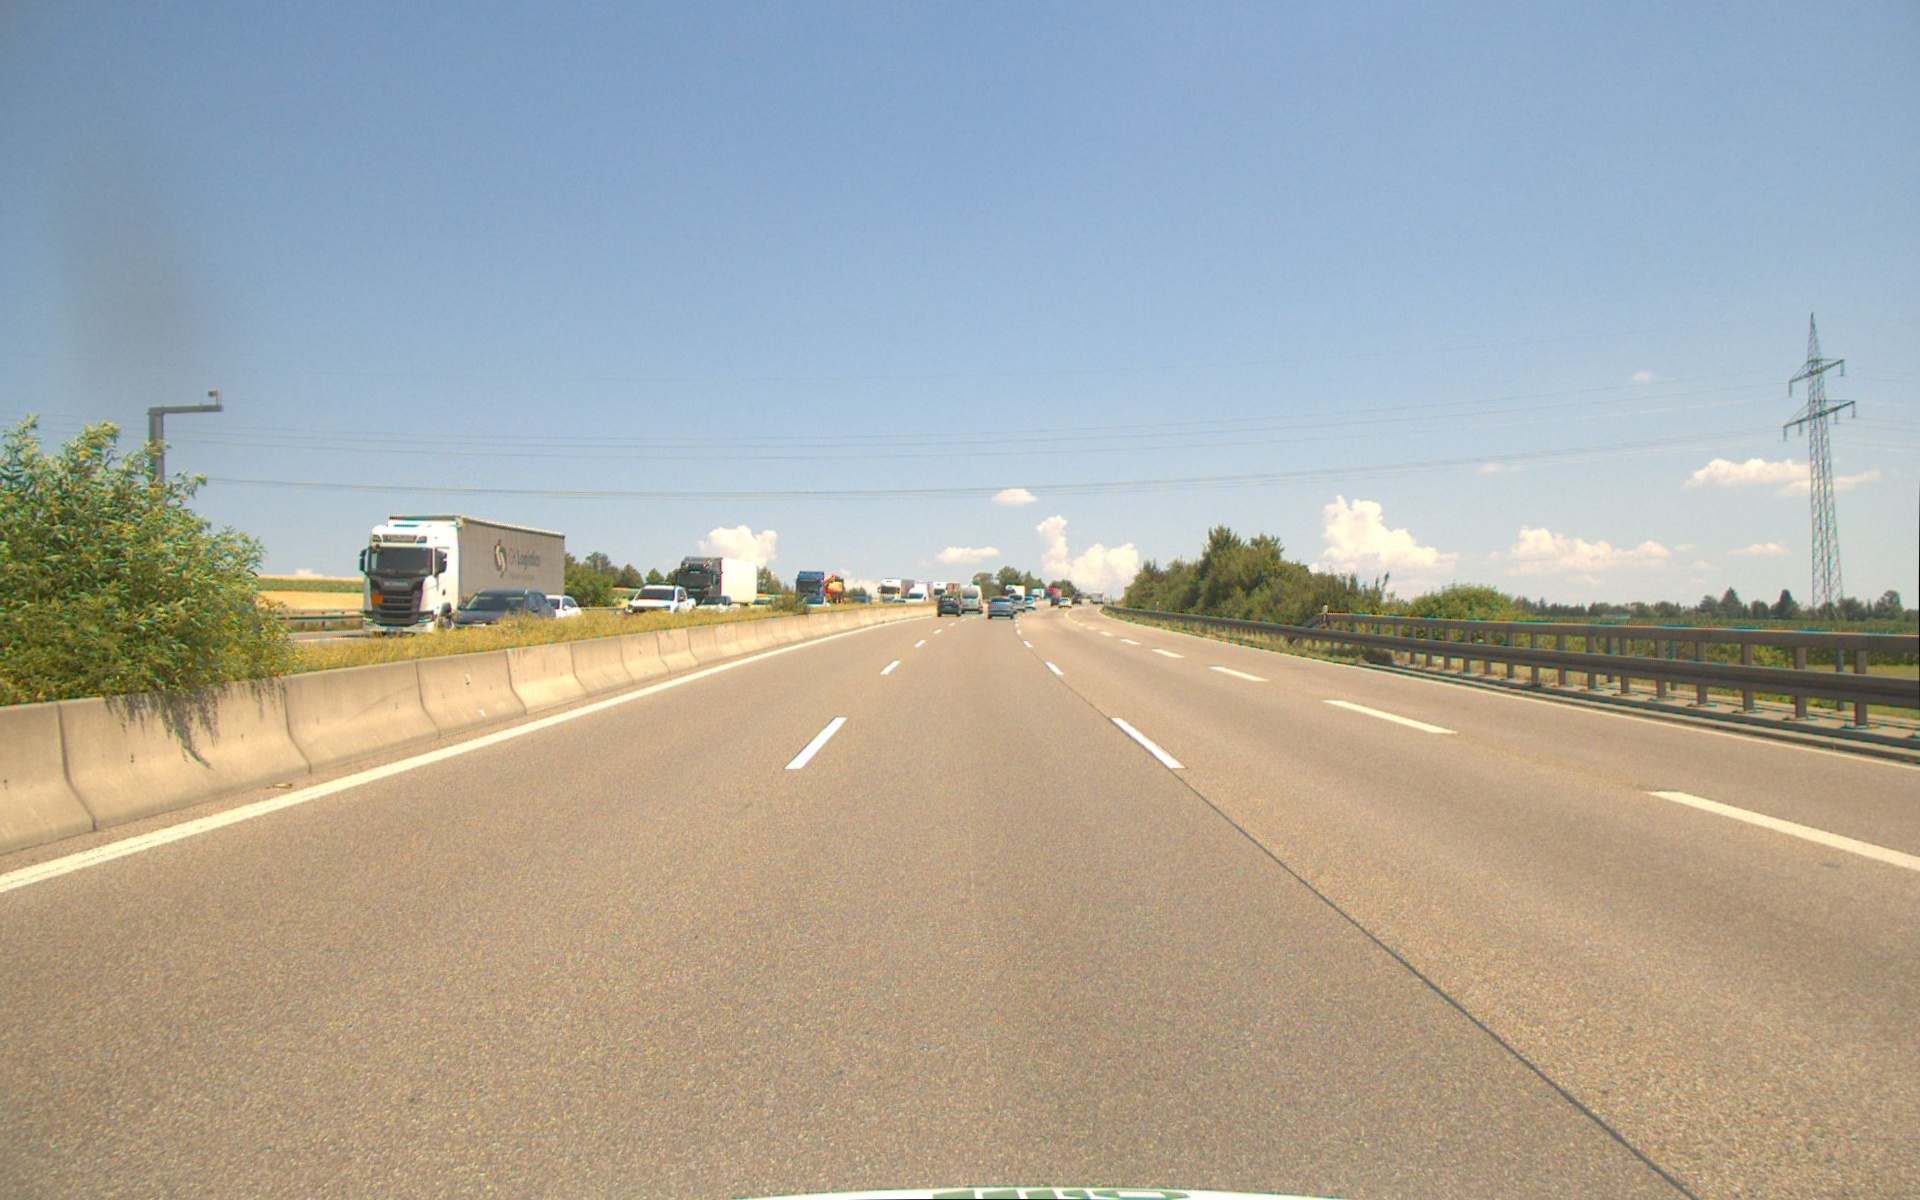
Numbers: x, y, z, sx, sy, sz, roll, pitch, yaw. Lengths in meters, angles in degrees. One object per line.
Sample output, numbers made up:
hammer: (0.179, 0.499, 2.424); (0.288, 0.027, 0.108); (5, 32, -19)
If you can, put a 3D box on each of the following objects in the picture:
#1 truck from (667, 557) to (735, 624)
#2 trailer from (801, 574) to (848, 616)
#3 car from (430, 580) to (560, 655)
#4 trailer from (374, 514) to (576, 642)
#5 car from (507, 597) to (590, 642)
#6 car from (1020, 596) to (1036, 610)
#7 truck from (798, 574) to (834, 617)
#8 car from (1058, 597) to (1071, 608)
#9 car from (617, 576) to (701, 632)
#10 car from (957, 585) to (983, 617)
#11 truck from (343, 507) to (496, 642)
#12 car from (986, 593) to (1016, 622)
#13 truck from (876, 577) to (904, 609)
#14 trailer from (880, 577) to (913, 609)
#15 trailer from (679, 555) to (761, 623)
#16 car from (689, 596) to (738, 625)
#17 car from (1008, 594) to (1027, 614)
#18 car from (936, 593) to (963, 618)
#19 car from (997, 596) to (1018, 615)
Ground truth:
truck: (-17.167, -0.627, 110.177); (3.159, 4.280, 7.128); (0, 0, 2)
trailer: (-13.616, -0.444, 167.192); (2.779, 4.027, 13.733); (1, 0, 3)
car: (-11.349, 0.403, 40.678); (1.953, 1.702, 4.476); (1, 0, -1)
trailer: (-18.481, -0.686, 64.542); (3.059, 4.400, 14.547); (1, -1, 2)
car: (-14.406, 0.666, 58.157); (1.805, 1.486, 4.490); (1, 0, -1)
car: (8.547, 0.381, 207.455); (1.952, 1.579, 4.002); (2, 0, 4)
truck: (-13.959, -0.413, 160.580); (2.718, 4.007, 6.140); (0, 0, 2)
car: (15.061, 0.380, 238.404); (1.862, 1.467, 4.002); (1, 0, 4)
car: (-11.033, 0.197, 61.033); (1.952, 1.937, 5.676); (1, -1, 1)
car: (0.974, 0.106, 154.311); (2.134, 2.671, 4.673); (1, -3, 3)
truck: (-18.690, -0.816, 57.622); (3.067, 4.404, 6.148); (1, -1, 1)
car: (2.895, 0.545, 116.336); (1.952, 1.781, 4.000); (1, -3, 3)
truck: (-9.464, -0.915, 223.495); (2.792, 4.098, 6.518); (1, -1, 5)
trailer: (-8.802, -0.904, 230.069); (2.734, 4.177, 14.015); (1, 0, 5)
trailer: (-16.847, -0.701, 117.170); (3.174, 4.464, 14.031); (1, 0, 2)
car: (-13.845, 0.598, 93.054); (1.952, 1.615, 4.589); (0, -1, 1)
car: (6.066, 0.444, 174.820); (1.952, 1.937, 4.000); (0, -3, 2)
car: (-0.816, 0.434, 129.912); (1.808, 1.893, 4.207); (1, 1, 4)
car: (4.511, 0.537, 155.887); (1.952, 1.613, 4.000); (0, -2, 2)
